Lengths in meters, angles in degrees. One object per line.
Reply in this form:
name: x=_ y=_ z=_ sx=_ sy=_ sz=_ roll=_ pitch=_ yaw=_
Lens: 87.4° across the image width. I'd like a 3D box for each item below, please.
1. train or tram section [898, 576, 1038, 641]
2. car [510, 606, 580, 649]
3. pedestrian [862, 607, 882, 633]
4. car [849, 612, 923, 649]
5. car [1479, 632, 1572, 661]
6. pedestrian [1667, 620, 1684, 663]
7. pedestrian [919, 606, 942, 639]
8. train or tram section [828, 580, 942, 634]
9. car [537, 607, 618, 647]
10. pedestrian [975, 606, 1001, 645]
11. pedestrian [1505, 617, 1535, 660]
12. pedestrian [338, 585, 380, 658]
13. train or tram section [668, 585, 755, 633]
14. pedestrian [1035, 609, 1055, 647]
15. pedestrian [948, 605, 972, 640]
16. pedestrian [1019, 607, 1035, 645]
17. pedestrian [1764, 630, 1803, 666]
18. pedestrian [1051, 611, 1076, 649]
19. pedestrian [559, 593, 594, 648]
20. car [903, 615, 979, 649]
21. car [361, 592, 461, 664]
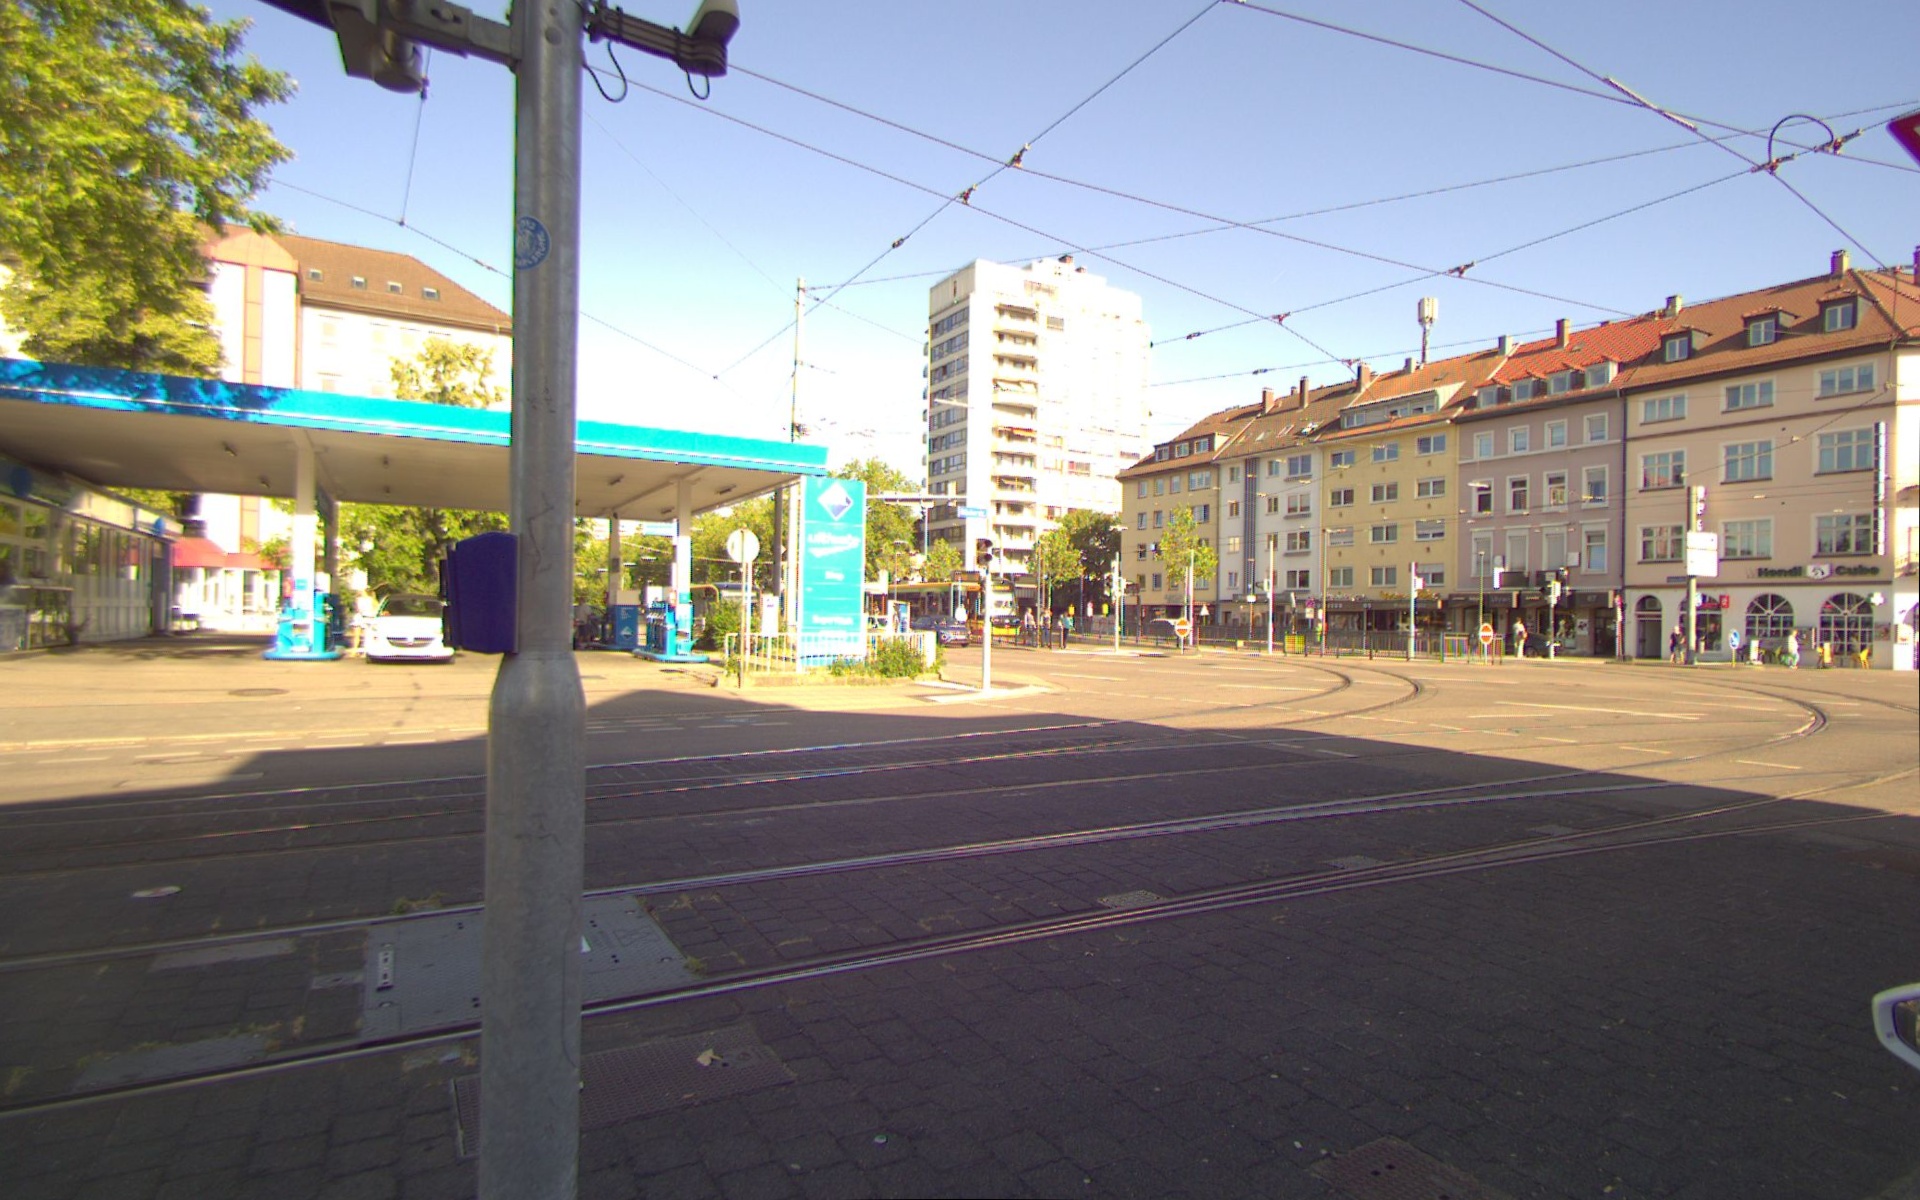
train or tram section: x=0.230 y=0.518 z=58.963 sx=3.252 sy=3.459 sz=10.157 roll=1 pitch=-1 yaw=-33
car: x=-13.502 y=0.867 z=32.577 sx=1.752 sy=1.332 sz=3.520 roll=1 pitch=-1 yaw=-28
pedestrian: x=-5.536 y=1.258 z=63.222 sx=0.902 sy=1.646 sz=0.887 roll=1 pitch=-1 yaw=-33
car: x=-3.507 y=1.395 z=46.805 sx=1.976 sy=1.615 sz=3.970 roll=1 pitch=-1 yaw=-29
car: x=30.775 y=2.495 z=54.713 sx=1.980 sy=1.483 sz=3.962 roll=1 pitch=-1 yaw=-34
pedestrian: x=34.210 y=1.983 z=48.019 sx=0.498 sy=2.040 sz=0.507 roll=1 pitch=-1 yaw=-27
pedestrian: x=-1.642 y=1.268 z=55.883 sx=0.902 sy=1.826 sz=0.887 roll=1 pitch=-1 yaw=-33
train or tram section: x=-5.250 y=0.521 z=67.581 sx=3.252 sy=3.335 sz=10.157 roll=1 pitch=-1 yaw=-33
car: x=-17.204 y=1.214 z=45.382 sx=1.960 sy=1.685 sz=4.001 roll=1 pitch=-1 yaw=2
pedestrian: x=1.357 y=1.228 z=48.419 sx=0.902 sy=1.826 sz=0.887 roll=1 pitch=-1 yaw=-33
pedestrian: x=24.496 y=1.695 z=43.954 sx=0.801 sy=1.842 sz=0.871 roll=1 pitch=-1 yaw=-29
pedestrian: x=-13.902 y=0.508 z=23.235 sx=0.804 sy=1.652 sz=0.641 roll=1 pitch=-1 yaw=-33
train or tram section: x=-15.030 y=0.453 z=60.038 sx=2.233 sy=2.627 sz=10.398 roll=2 pitch=0 yaw=-30
pedestrian: x=3.812 y=1.249 z=45.139 sx=0.549 sy=1.721 sz=0.740 roll=1 pitch=-1 yaw=-33
pedestrian: x=-0.015 y=1.165 z=52.344 sx=0.902 sy=1.826 sz=0.887 roll=1 pitch=-1 yaw=-33
pedestrian: x=3.121 y=1.199 z=46.630 sx=0.491 sy=1.721 sz=0.553 roll=1 pitch=-1 yaw=-33
pedestrian: x=37.378 y=2.158 z=45.575 sx=1.029 sy=1.612 sz=1.061 roll=1 pitch=-1 yaw=-28
pedestrian: x=4.511 y=1.294 z=43.896 sx=0.791 sy=1.646 sz=0.706 roll=1 pitch=-1 yaw=-33
pedestrian: x=-13.045 y=0.686 z=34.159 sx=0.895 sy=1.826 sz=0.894 roll=1 pitch=-1 yaw=-8
car: x=-0.958 y=1.493 z=48.347 sx=1.937 sy=1.475 sz=4.077 roll=1 pitch=0 yaw=-30
car: x=-12.273 y=0.610 z=22.432 sx=1.773 sy=1.461 sz=3.968 roll=2 pitch=-1 yaw=-30
